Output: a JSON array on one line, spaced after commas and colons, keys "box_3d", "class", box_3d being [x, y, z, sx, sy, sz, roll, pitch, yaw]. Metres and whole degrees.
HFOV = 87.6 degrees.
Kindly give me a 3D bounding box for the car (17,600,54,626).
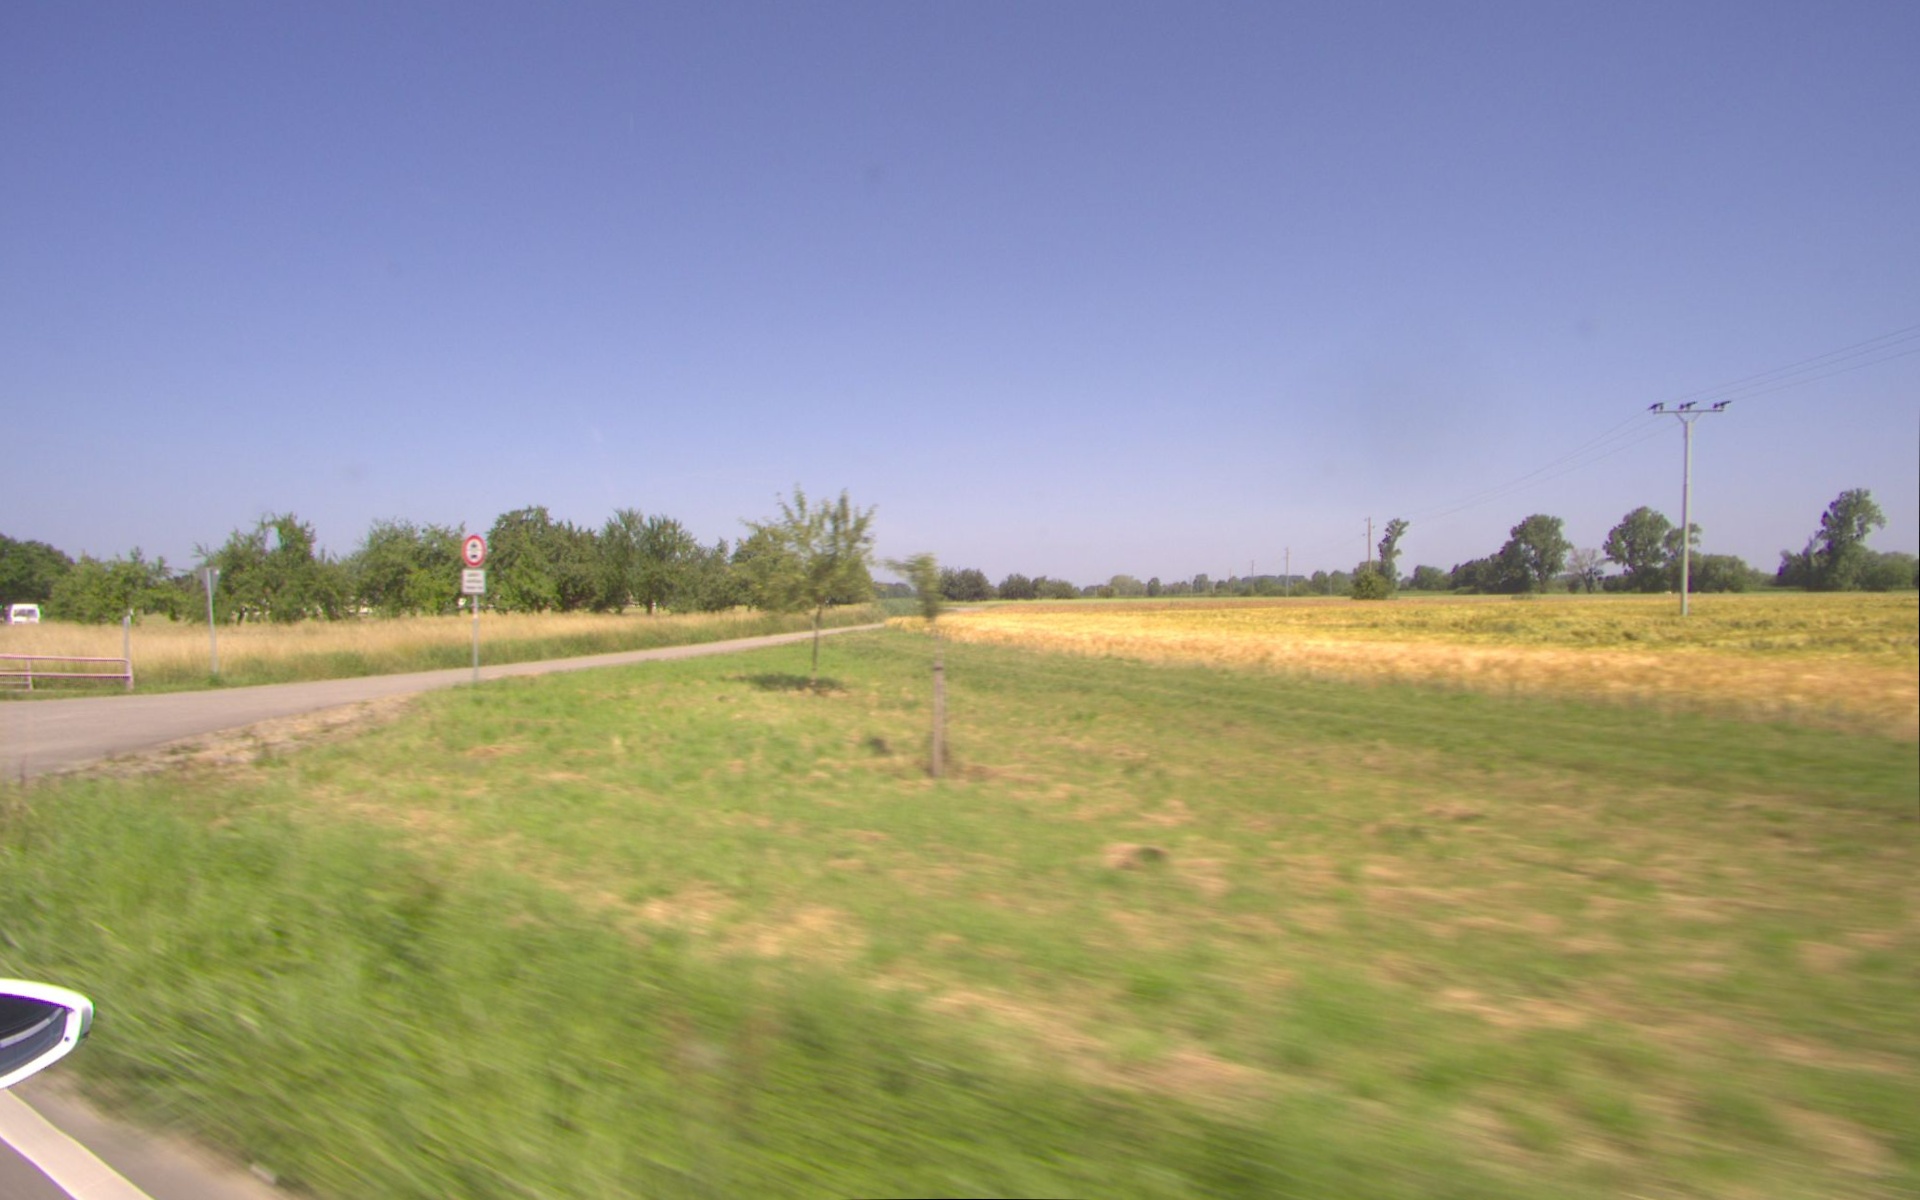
[{"box_3d": [-83.503, 1.135, 90.490, 1.976, 2.296, 4.690, -1, 1, -37], "class": "car"}]
